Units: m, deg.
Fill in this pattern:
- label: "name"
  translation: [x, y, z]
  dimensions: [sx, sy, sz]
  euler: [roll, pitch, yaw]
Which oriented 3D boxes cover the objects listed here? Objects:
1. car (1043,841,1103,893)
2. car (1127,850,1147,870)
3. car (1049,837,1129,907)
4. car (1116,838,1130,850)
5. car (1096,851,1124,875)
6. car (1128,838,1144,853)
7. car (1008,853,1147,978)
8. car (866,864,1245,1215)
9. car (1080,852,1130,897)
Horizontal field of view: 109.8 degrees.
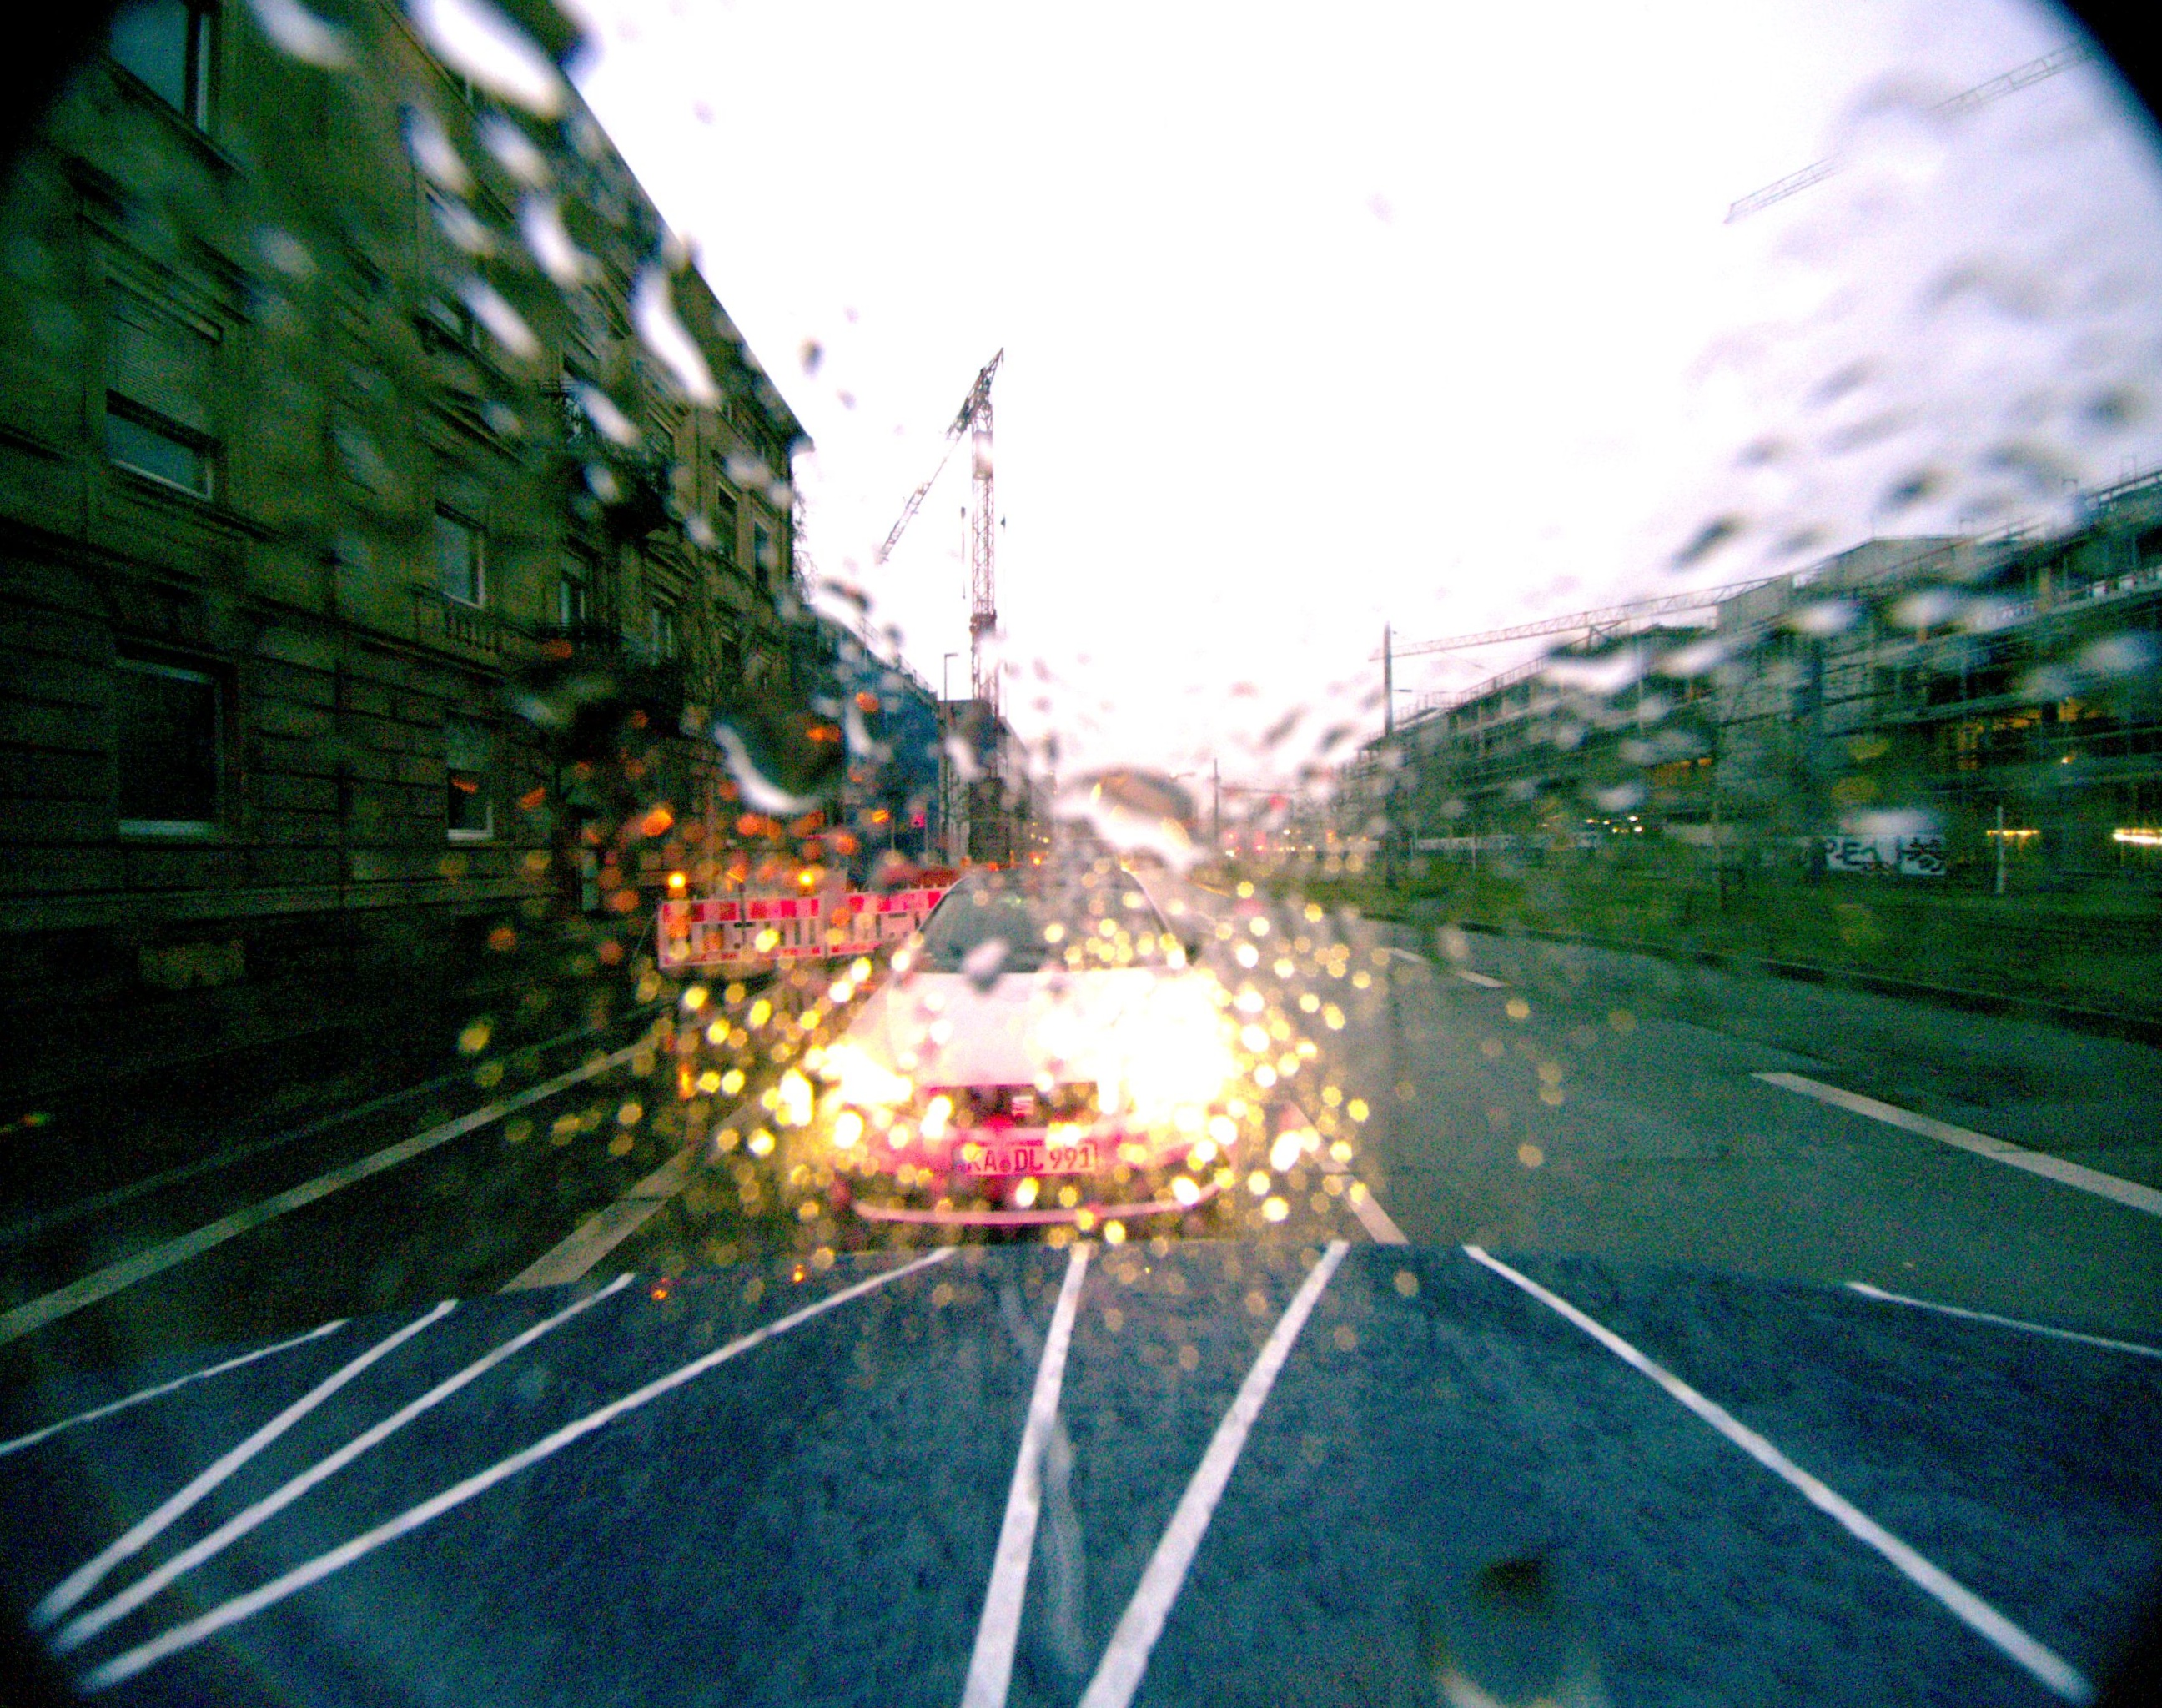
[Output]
- label: "car"
  translation: [-0.263, 0.365, 25.367]
  dimensions: [1.769, 1.504, 3.899]
  euler: [-3, 1, 0]
- label: "car"
  translation: [5.131, 0.512, 69.763]
  dimensions: [1.768, 1.614, 3.900]
  euler: [-3, 1, 4]
- label: "car"
  translation: [0.177, 0.370, 19.335]
  dimensions: [1.769, 1.504, 3.899]
  euler: [-3, 1, 0]
- label: "car"
  translation: [5.912, -1.403, 107.058]
  dimensions: [1.768, 1.614, 3.900]
  euler: [-3, 1, 4]
- label: "car"
  translation: [2.056, 0.618, 54.500]
  dimensions: [1.769, 1.504, 3.899]
  euler: [-3, 1, 0]
- label: "car"
  translation: [6.309, -1.012, 87.366]
  dimensions: [1.768, 1.614, 3.900]
  euler: [-3, 1, 4]
- label: "car"
  translation: [-0.050, 0.818, 12.036]
  dimensions: [1.769, 1.504, 3.899]
  euler: [-3, 1, 0]
- label: "car"
  translation: [-0.125, 0.929, 5.644]
  dimensions: [1.769, 1.504, 3.899]
  euler: [-3, 1, 0]
- label: "car"
  translation: [0.873, 0.734, 29.890]
  dimensions: [1.769, 1.504, 3.899]
  euler: [-3, 1, 0]
